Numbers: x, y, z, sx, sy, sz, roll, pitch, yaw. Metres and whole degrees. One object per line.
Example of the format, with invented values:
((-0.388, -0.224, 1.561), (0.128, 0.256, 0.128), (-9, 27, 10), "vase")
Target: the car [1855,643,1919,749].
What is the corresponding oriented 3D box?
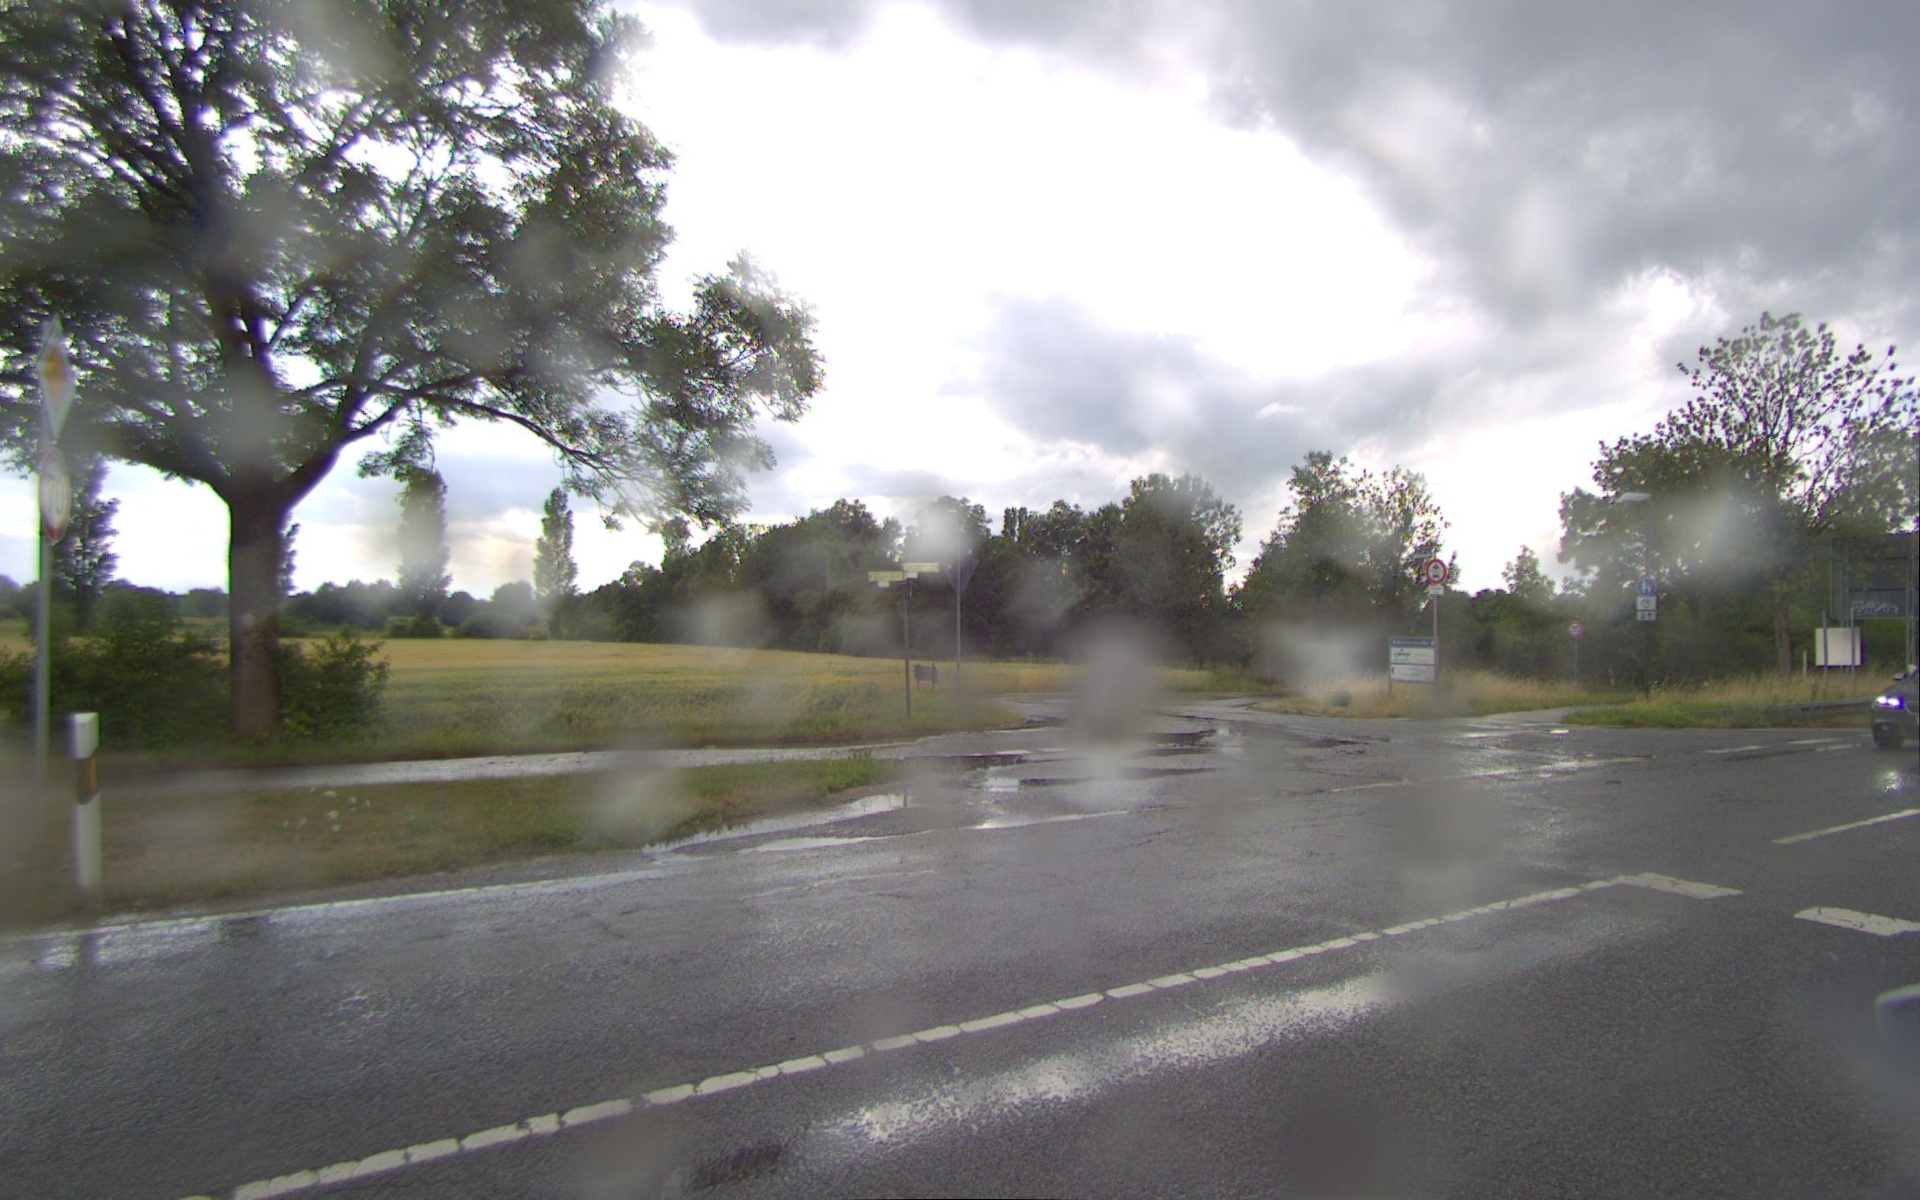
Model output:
((15.200, 1.360, 14.837), (4.364, 1.456, 1.757), (2, -4, -32), "car")
